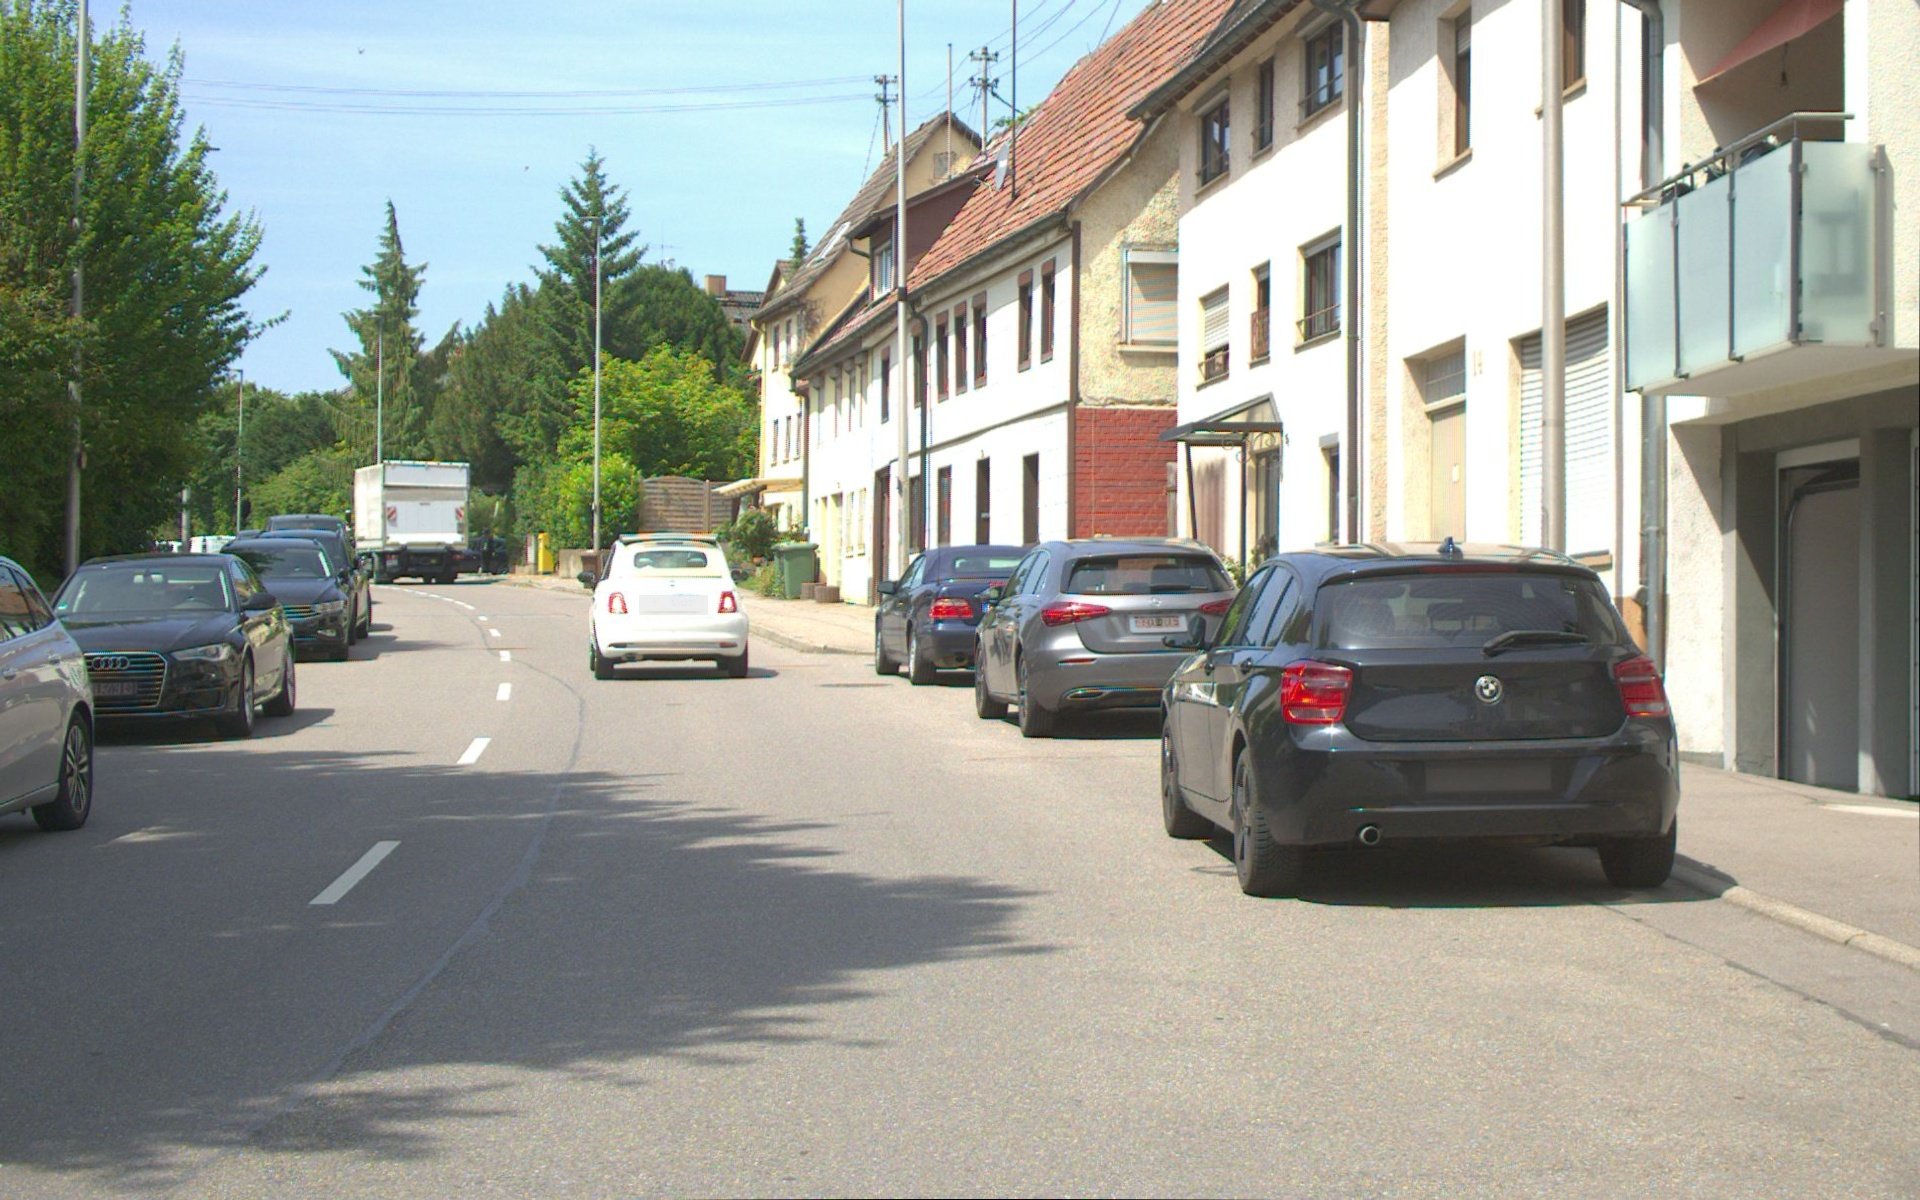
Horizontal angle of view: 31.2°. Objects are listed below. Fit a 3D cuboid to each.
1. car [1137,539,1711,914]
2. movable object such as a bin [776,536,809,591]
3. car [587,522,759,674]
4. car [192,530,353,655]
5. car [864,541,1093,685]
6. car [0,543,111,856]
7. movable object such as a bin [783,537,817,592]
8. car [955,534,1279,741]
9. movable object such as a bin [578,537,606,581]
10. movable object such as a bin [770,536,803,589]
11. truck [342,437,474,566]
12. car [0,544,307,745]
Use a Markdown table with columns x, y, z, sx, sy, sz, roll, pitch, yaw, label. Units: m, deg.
| x | y | z | sx | sy | sz | roll | pitch | yaw | label |
| --- | --- | --- | --- | --- | --- | --- | --- | --- | --- |
| 1.903 | 0.461 | 15.383 | 1.797 | 1.420 | 4.290 | -1 | 1 | -3 | car |
| -3.272 | -0.716 | 67.185 | 0.546 | 1.030 | 0.552 | -3 | 2 | -10 | movable object such as a bin |
| -3.161 | -0.045 | 37.321 | 1.724 | 1.555 | 4.001 | 0 | 1 | -7 | car |
| -8.492 | -0.138 | 42.752 | 1.788 | 1.458 | 4.713 | -1 | 1 | -9 | car |
| 0.122 | 0.087 | 34.819 | 1.665 | 1.348 | 4.188 | 0 | 1 | -9 | car |
| -5.598 | 0.511 | 16.962 | 1.772 | 1.522 | 4.222 | -1 | 1 | -1 | car |
| -3.096 | -0.698 | 66.555 | 0.546 | 1.030 | 0.552 | -3 | 2 | -10 | movable object such as a bin |
| 1.100 | 0.220 | 26.252 | 1.793 | 1.398 | 4.413 | -1 | 1 | -6 | car |
| -8.968 | -0.989 | 83.792 | 0.494 | 1.030 | 0.548 | -3 | 2 | 10 | movable object such as a bin |
| -3.460 | -0.751 | 68.349 | 0.546 | 1.030 | 0.552 | -3 | 2 | -10 | movable object such as a bin |
| -16.943 | -2.933 | 105.201 | 3.067 | 3.761 | 7.870 | 0 | 0 | -16 | truck |
| -6.619 | 0.299 | 28.500 | 1.804 | 1.419 | 4.929 | -2 | 2 | -5 | car |
